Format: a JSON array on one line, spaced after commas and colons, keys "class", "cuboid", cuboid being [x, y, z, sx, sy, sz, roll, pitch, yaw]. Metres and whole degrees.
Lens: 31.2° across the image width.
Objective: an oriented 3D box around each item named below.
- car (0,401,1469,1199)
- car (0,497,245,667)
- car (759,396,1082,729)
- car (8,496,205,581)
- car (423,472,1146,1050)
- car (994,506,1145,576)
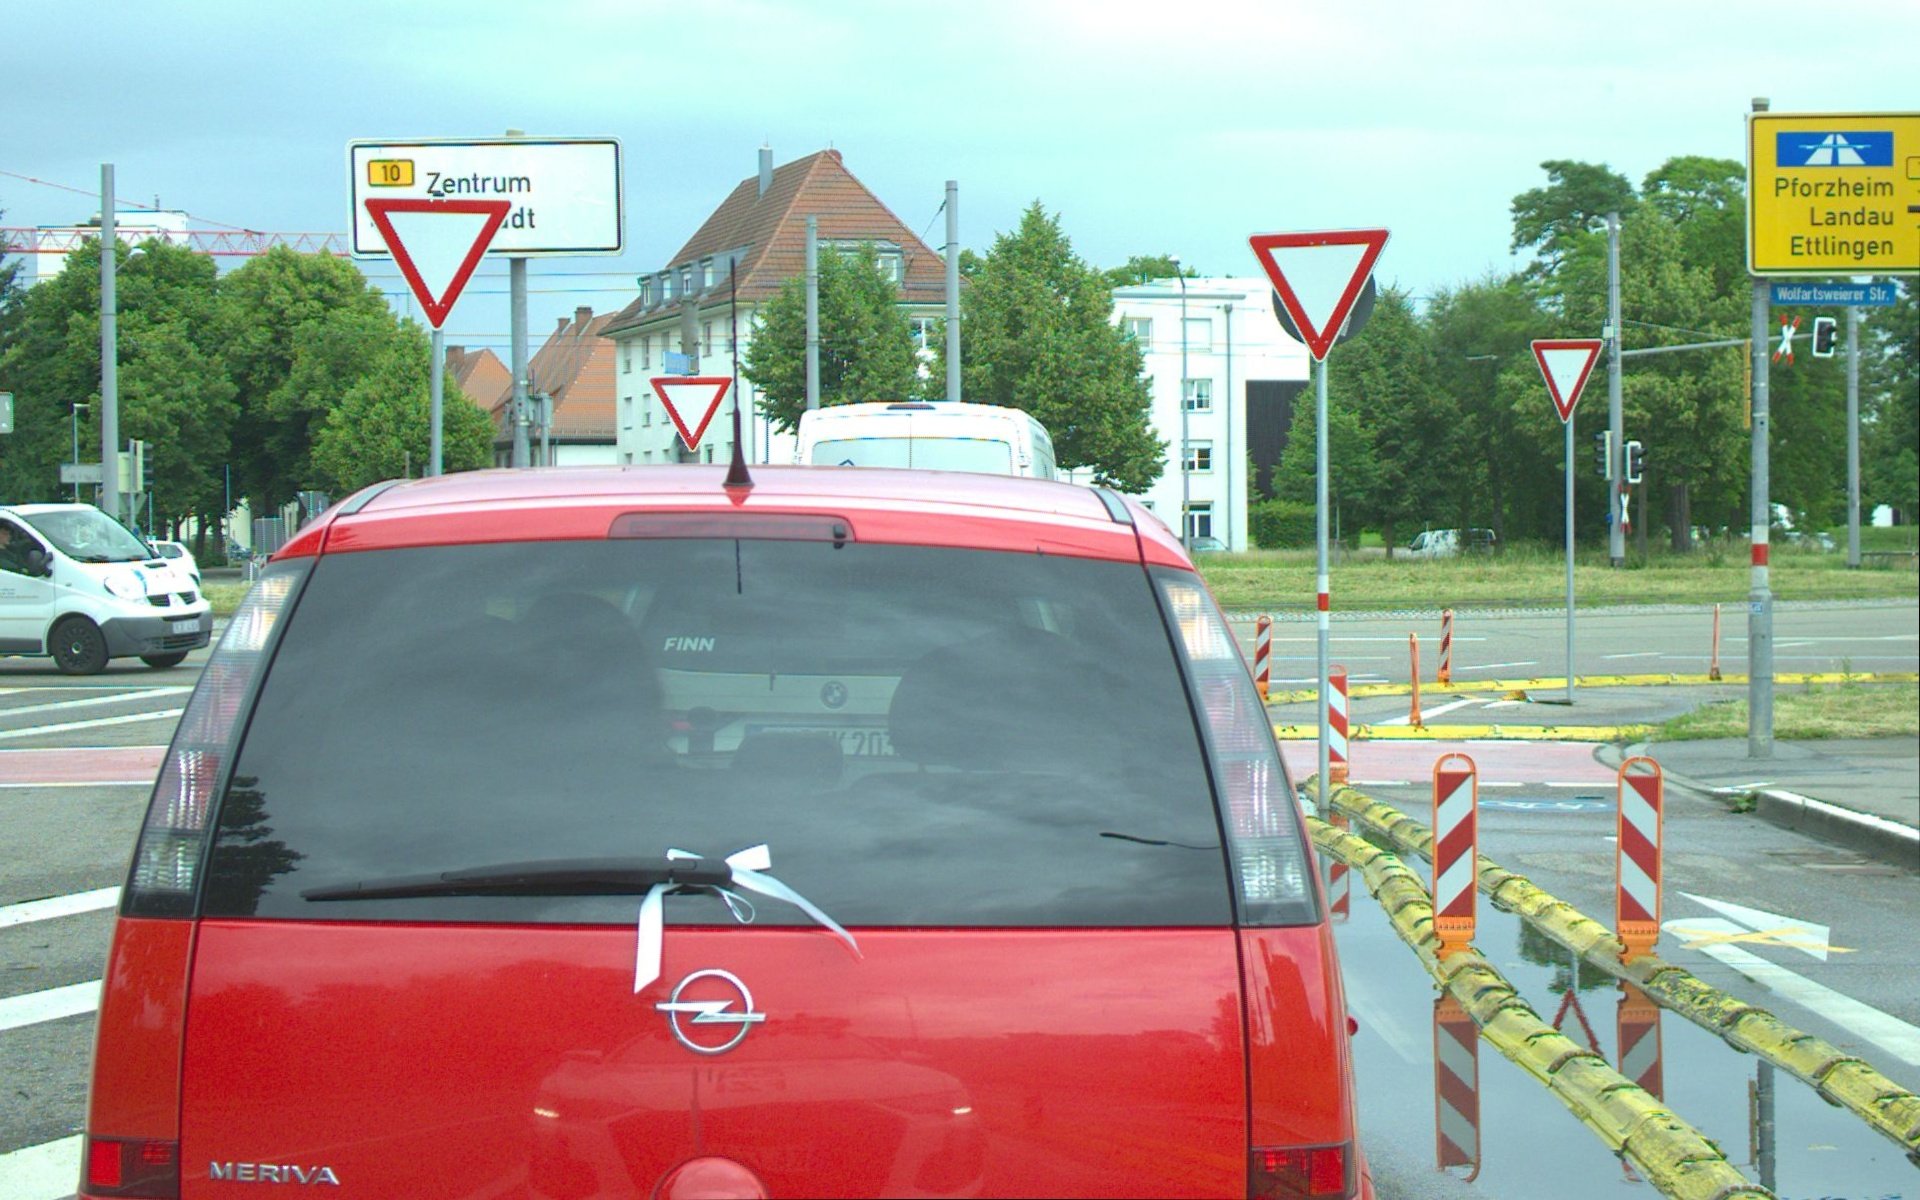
[{"class": "car", "cuboid": [-0.325, 0.575, 5.490, 1.673, 1.635, 3.627, 1, 1, -1]}, {"class": "car", "cuboid": [-10.997, -0.218, 40.020, 4.837, 1.893, 2.097, 0, 1, 20]}, {"class": "car", "cuboid": [-0.220, -0.344, 28.920, 2.195, 2.531, 4.961, 1, 1, 5]}, {"class": "car", "cuboid": [-20.944, -1.526, 84.480, 1.997, 2.007, 4.471, 0, 1, 35]}, {"class": "car", "cuboid": [-0.533, 0.415, 12.189, 2.059, 1.642, 4.607, 1, 1, -1]}, {"class": "car", "cuboid": [3.298, -1.774, 102.853, 4.464, 2.007, 2.000, -1, 1, 3]}]
